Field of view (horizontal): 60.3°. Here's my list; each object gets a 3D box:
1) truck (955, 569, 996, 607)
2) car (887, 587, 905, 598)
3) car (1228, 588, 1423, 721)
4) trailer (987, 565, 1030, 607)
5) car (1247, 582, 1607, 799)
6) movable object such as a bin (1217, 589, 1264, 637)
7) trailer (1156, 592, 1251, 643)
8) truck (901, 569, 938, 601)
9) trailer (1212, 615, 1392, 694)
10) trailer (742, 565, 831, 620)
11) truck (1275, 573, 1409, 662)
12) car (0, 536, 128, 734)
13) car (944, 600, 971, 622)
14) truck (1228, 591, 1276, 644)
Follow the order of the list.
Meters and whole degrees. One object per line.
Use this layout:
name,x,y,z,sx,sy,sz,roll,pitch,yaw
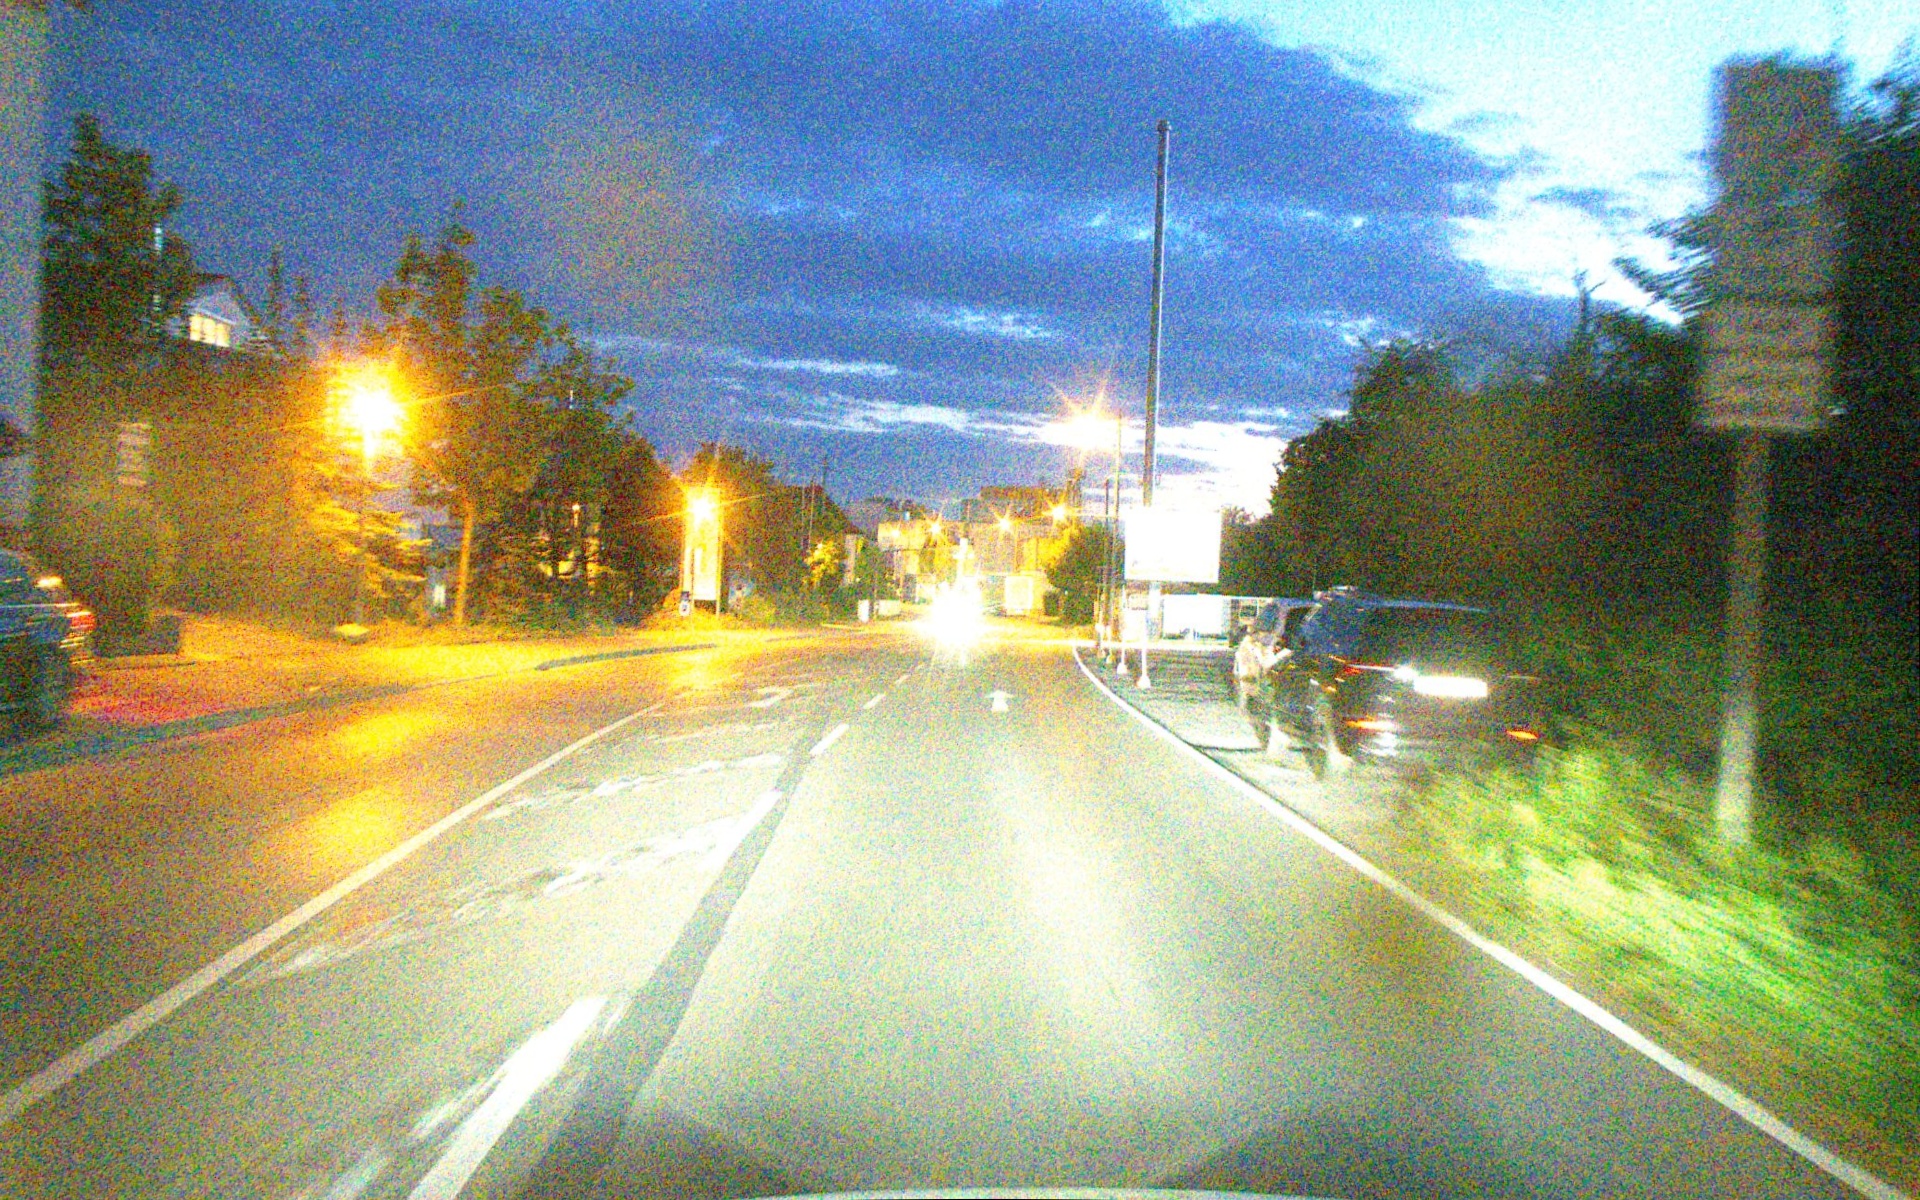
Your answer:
truck,1.653,-1.339,183.869,2.779,4.052,10.318,1,1,-10
car,-8.953,-1.032,231.737,1.820,1.545,3.806,1,1,-12
car,4.901,0.669,22.705,1.894,1.579,4.001,3,0,3
trailer,4.817,-1.459,166.722,2.754,4.052,13.961,1,1,-5
car,4.003,0.678,15.004,1.953,1.579,4.326,3,1,0
movable object such as a bin,17.096,0.767,100.900,2.181,2.772,3.866,3,0,1
trailer,10.358,0.719,70.384,3.674,2.049,1.612,1,1,27
truck,-5.367,-1.998,216.770,3.455,4.052,10.321,1,1,-9
trailer,6.243,0.923,31.441,2.128,0.983,9.621,4,1,5
trailer,-8.933,-0.384,85.222,4.257,2.767,2.001,1,0,2
truck,11.033,0.475,48.450,2.328,2.323,7.746,2,0,2
car,-7.988,0.226,11.701,1.811,1.470,4.914,2,0,-2
car,-0.181,0.908,133.445,1.952,1.655,4.754,2,0,3
truck,16.505,0.959,93.788,2.137,2.796,7.321,3,0,7
